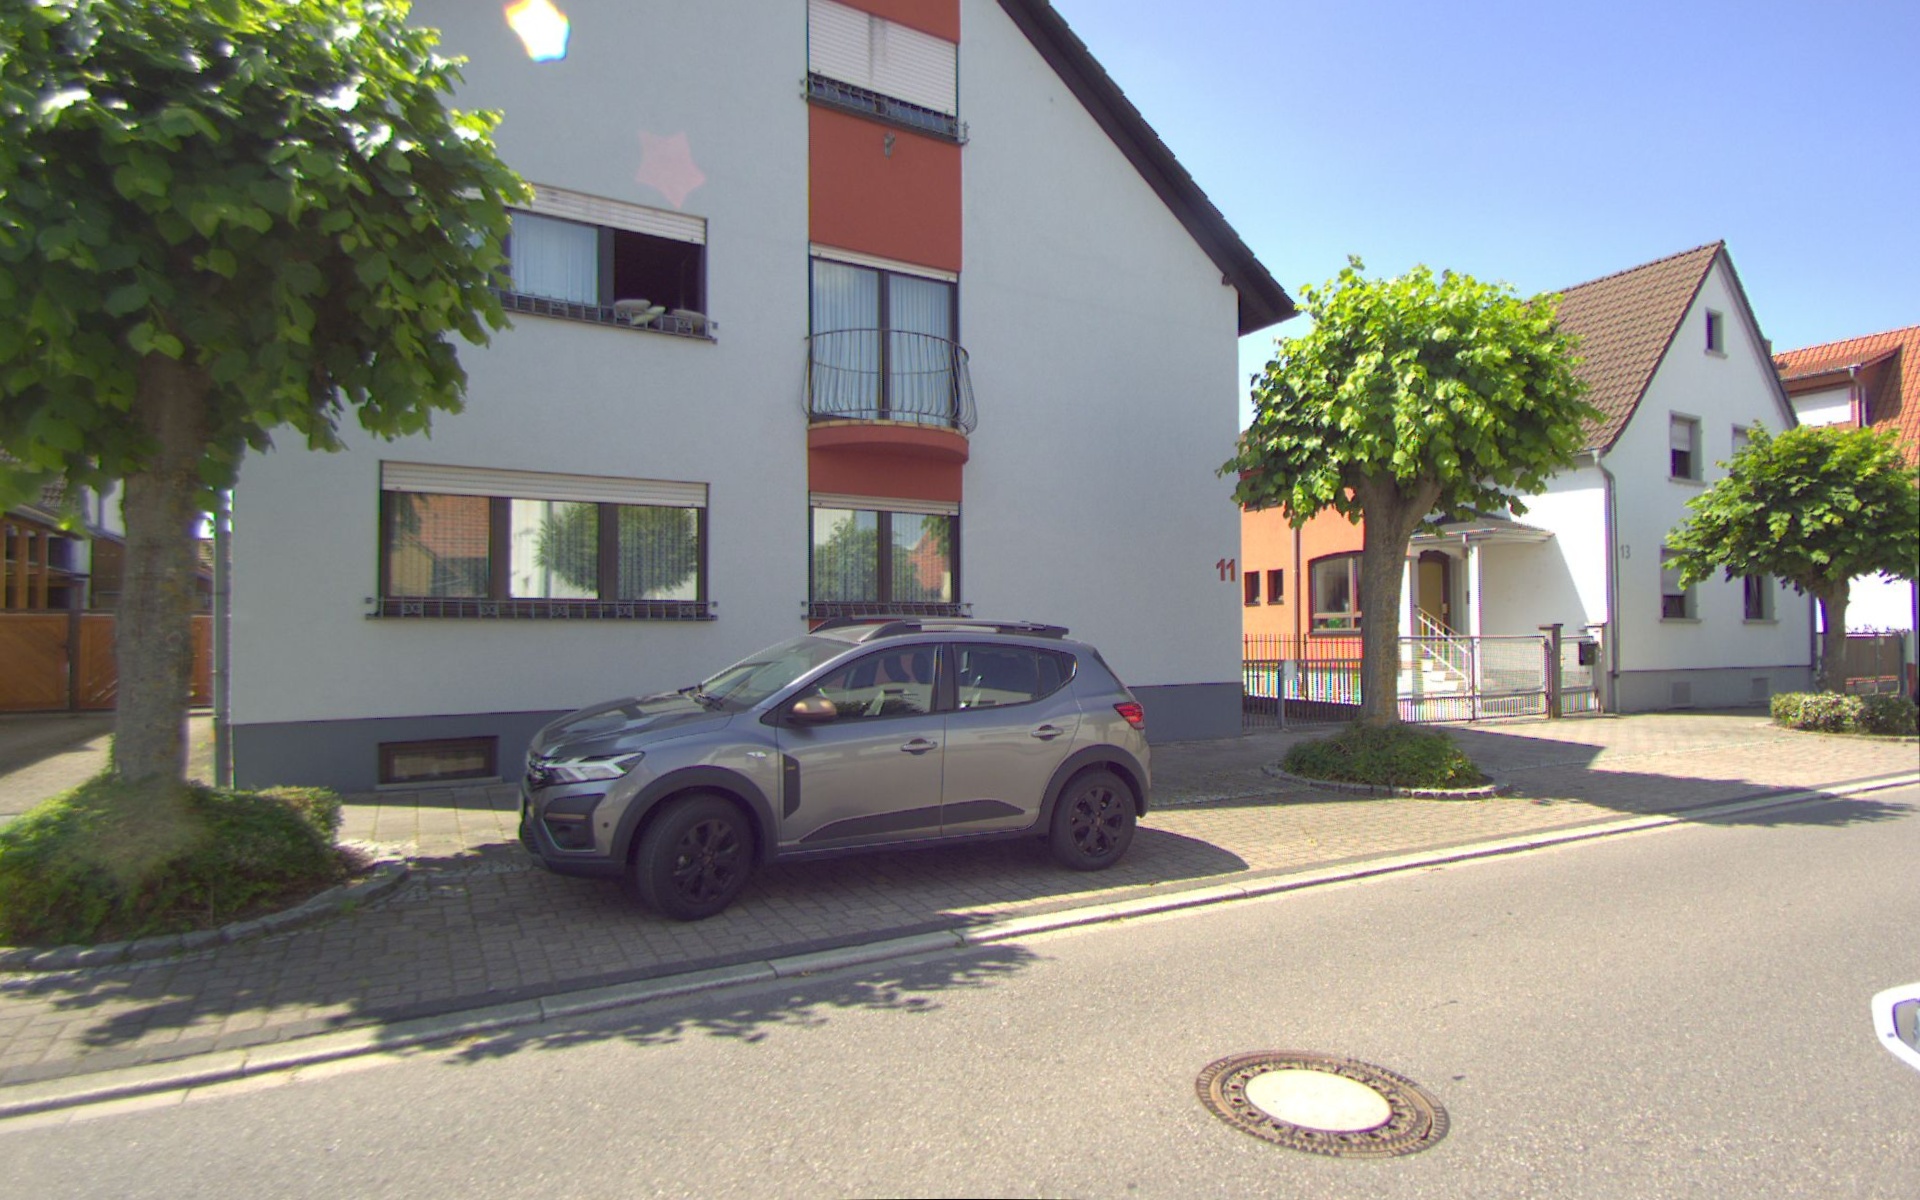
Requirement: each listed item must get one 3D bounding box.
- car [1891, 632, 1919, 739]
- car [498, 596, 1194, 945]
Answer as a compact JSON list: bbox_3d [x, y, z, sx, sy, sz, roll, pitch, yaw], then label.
[{"bbox_3d":[17.146,1.367,16.281,4.248,1.658,1.844,1,0,-30],"label":"car"},{"bbox_3d":[-0.687,0.848,6.497,4.083,1.634,1.845,2,-1,-28],"label":"car"}]
